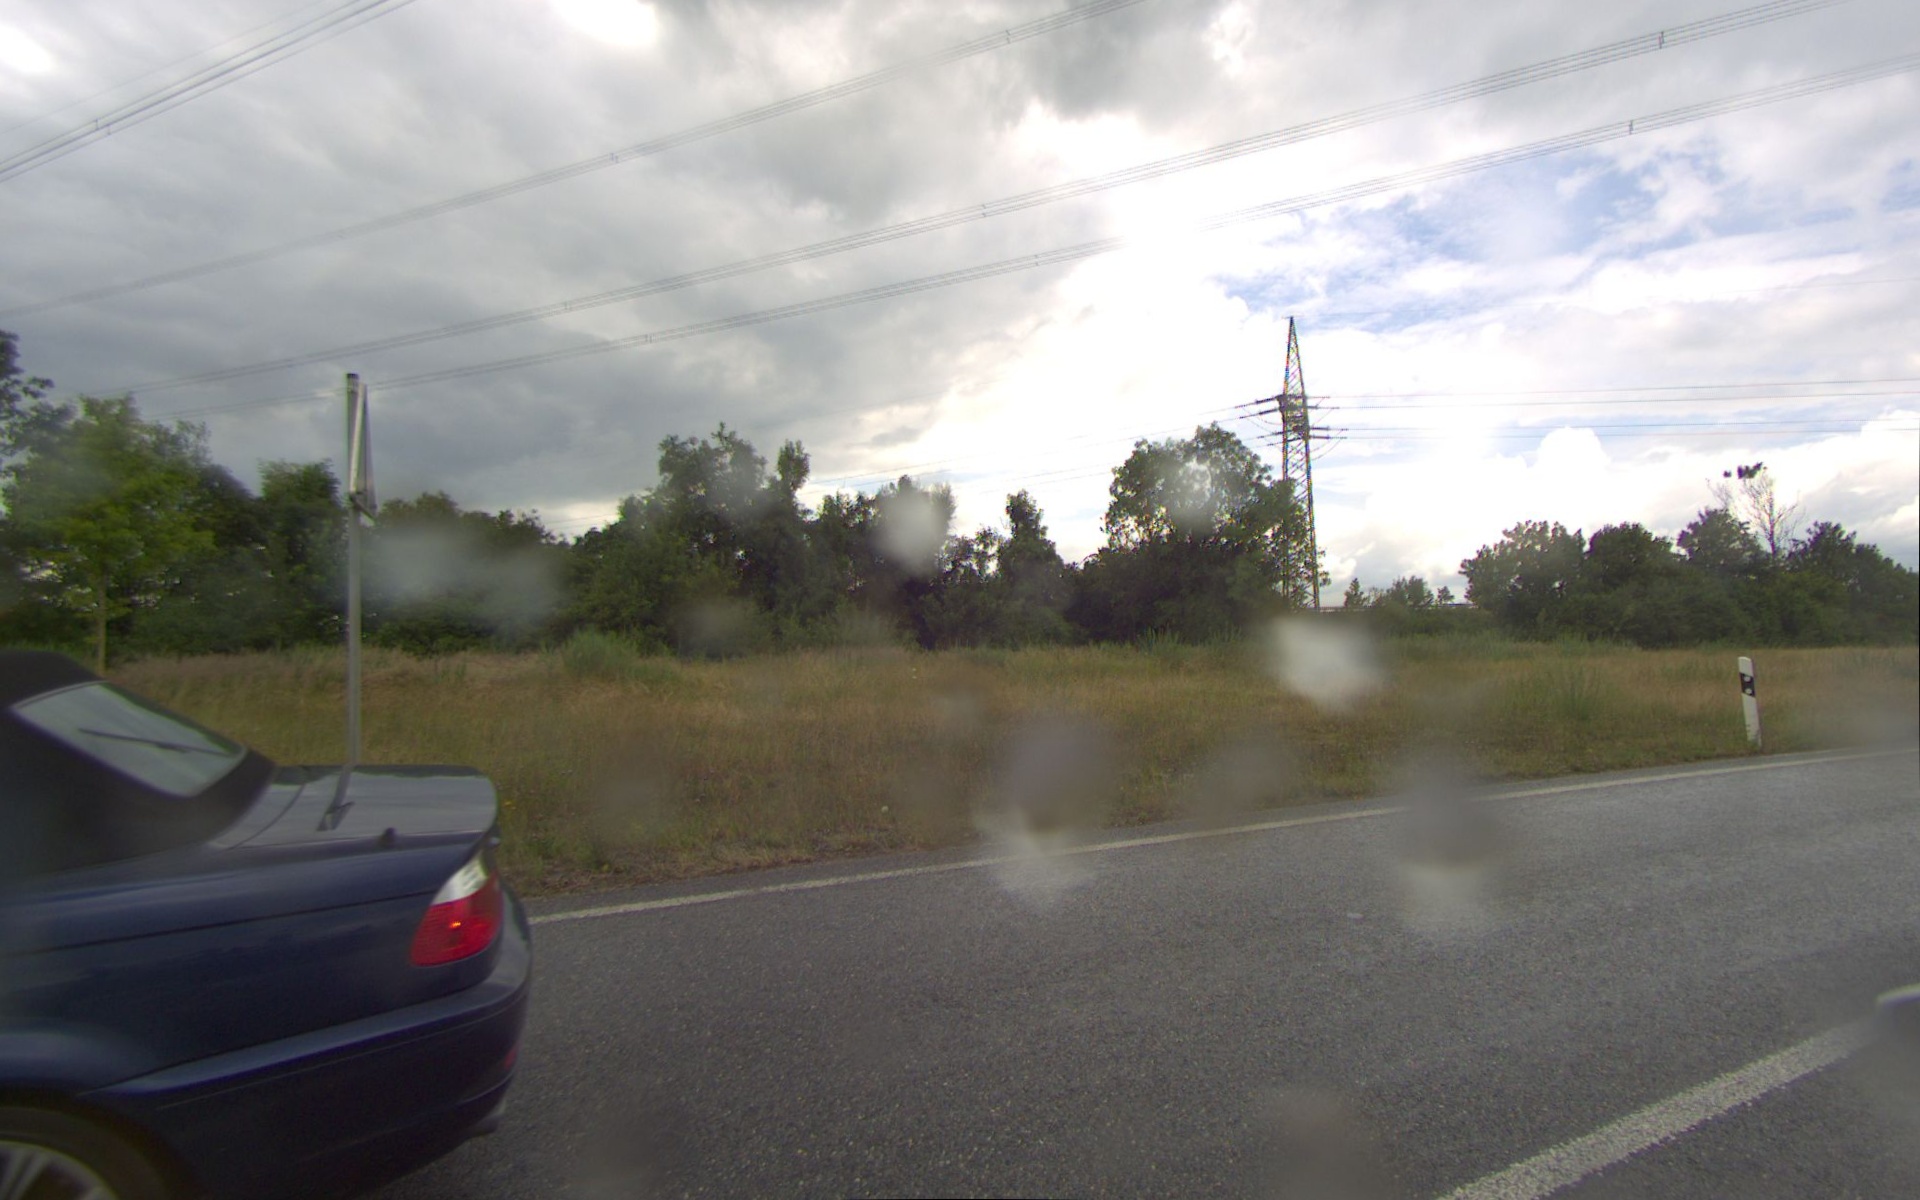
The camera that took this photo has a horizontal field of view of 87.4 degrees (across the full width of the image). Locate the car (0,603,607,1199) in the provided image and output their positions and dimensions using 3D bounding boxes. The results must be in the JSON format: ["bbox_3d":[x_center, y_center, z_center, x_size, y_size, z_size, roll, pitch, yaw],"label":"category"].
[{"bbox_3d":[-2.991,0.701,1.729,4.269,1.415,1.622,2,0,-30],"label":"car"}]
